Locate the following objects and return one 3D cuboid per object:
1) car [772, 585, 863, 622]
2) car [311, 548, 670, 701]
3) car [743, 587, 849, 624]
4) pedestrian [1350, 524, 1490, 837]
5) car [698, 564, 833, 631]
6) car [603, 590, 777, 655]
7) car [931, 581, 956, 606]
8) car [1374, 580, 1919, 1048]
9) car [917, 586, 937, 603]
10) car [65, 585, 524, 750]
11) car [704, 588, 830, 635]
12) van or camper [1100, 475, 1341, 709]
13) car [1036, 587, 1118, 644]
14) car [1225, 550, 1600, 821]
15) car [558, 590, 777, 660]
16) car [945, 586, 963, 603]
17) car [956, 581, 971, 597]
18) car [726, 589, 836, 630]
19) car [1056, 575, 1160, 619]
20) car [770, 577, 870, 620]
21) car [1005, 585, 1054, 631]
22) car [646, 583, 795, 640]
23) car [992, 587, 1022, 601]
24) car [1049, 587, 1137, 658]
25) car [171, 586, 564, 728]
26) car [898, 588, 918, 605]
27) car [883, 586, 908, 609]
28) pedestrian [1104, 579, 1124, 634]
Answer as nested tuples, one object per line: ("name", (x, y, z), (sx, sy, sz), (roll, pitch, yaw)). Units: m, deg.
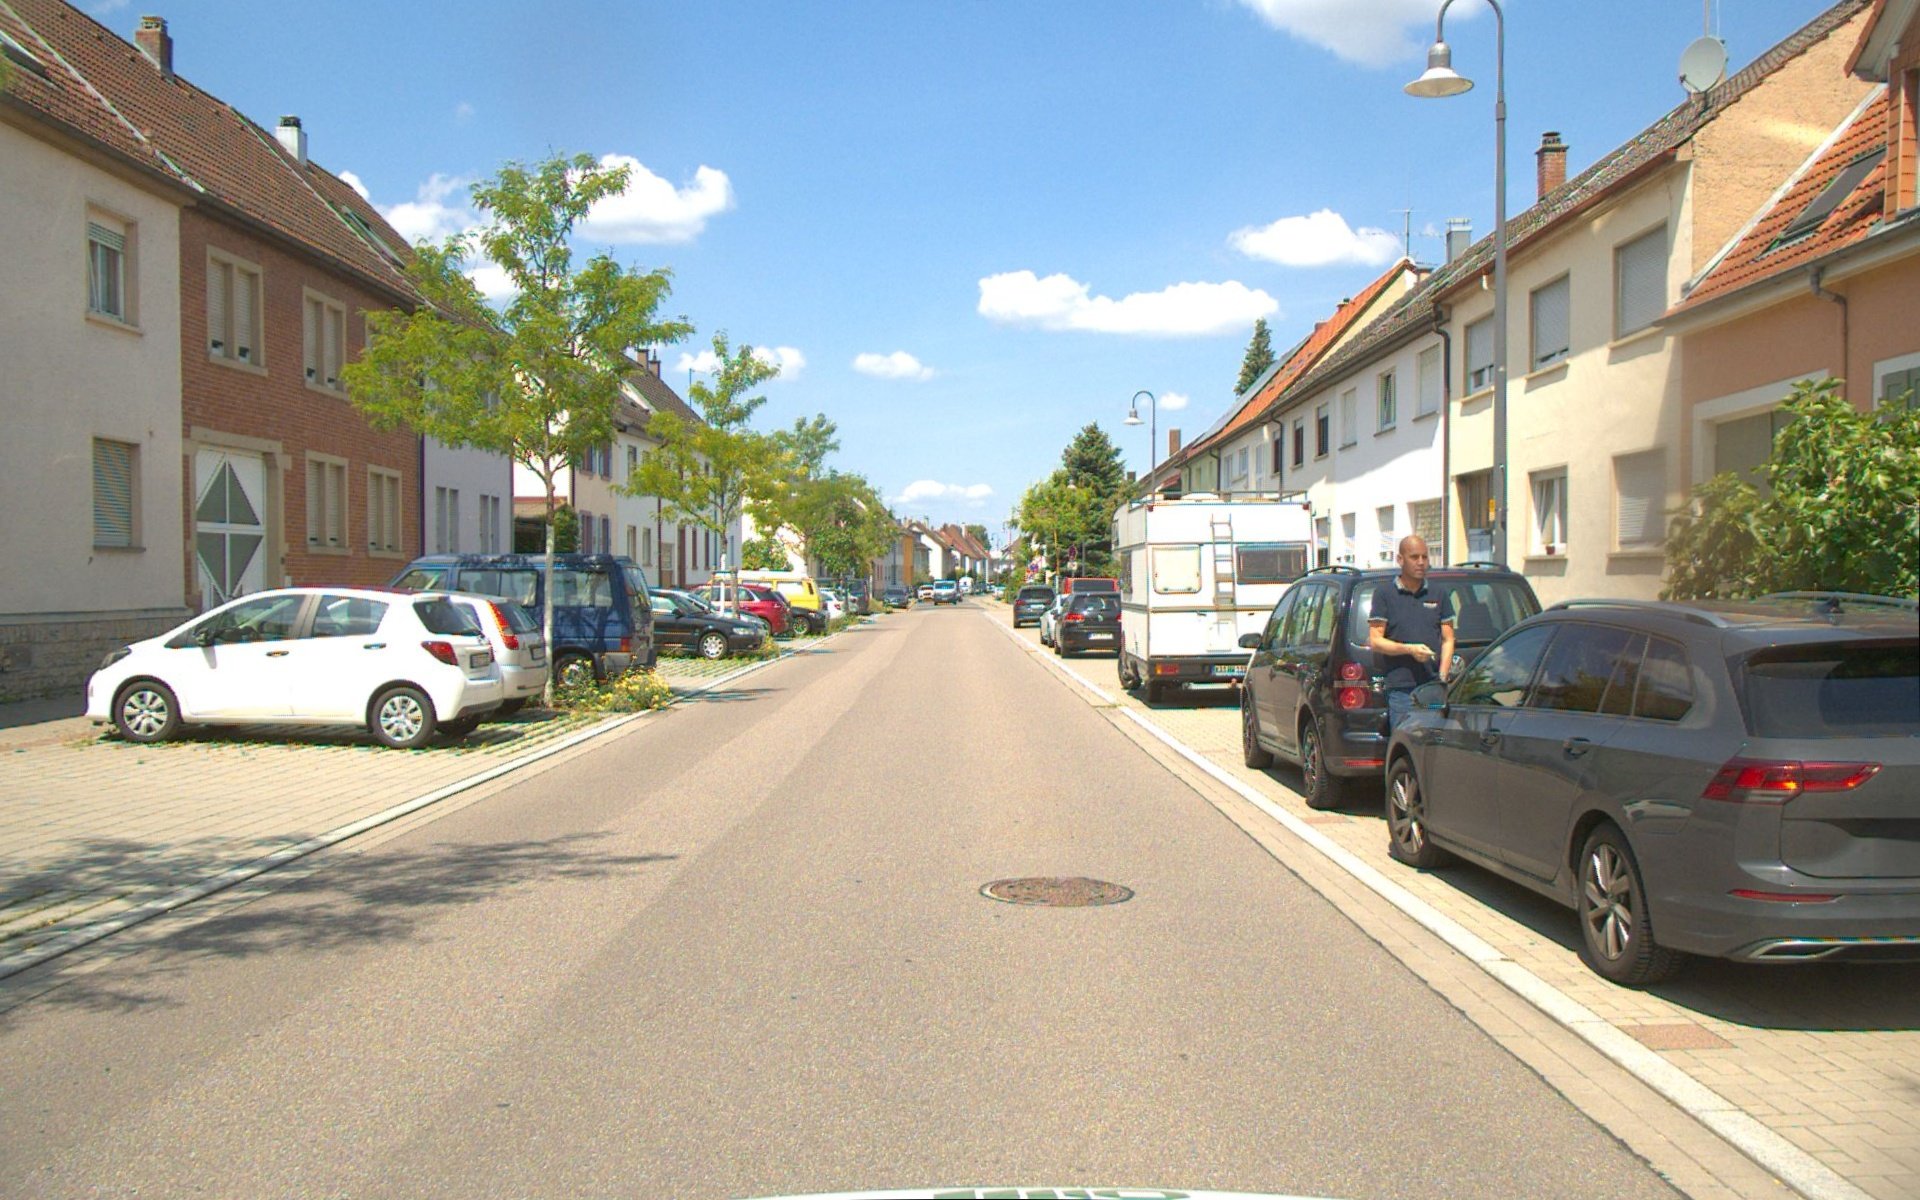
("car", (-6.562, 0.160, 76.510), (4.100, 1.596, 1.772), (1, 0, -4))
("car", (-6.588, 0.327, 23.584), (4.517, 2.031, 1.953), (1, 0, 1))
("car", (-6.879, 0.245, 69.628), (4.206, 1.493, 1.774), (0, 0, 1))
("pedestrian", (2.840, 0.484, 10.259), (0.702, 1.885, 0.578), (0, 0, 0))
("car", (-6.681, -0.087, 57.114), (4.416, 2.215, 1.925), (1, 0, 0))
("car", (-6.484, 0.528, 40.039), (3.973, 1.503, 1.775), (1, 0, -3))
("car", (-1.396, -0.510, 137.930), (1.981, 1.984, 4.897), (-1, 0, -1))
("car", (3.350, 0.679, 7.544), (1.731, 1.514, 4.295), (0, 0, -2))
("car", (-3.425, -0.607, 173.259), (1.811, 1.688, 4.001), (2, 0, 3))
("car", (-6.522, 0.629, 16.503), (3.835, 1.514, 1.773), (1, 0, 1))
("car", (-6.310, 0.375, 54.459), (3.928, 1.485, 1.755), (1, 0, 0))
("van or camper", (3.505, -0.143, 23.567), (2.423, 2.859, 5.790), (-2, 1, 0))
("car", (3.172, 0.402, 45.735), (1.795, 1.491, 4.518), (0, 0, -2))
("car", (3.260, 0.536, 12.814), (1.730, 1.734, 4.325), (0, 0, 0))
("car", (-6.321, 0.531, 36.067), (4.431, 1.450, 1.795), (1, 0, -1))
("car", (-0.618, -0.553, 163.281), (1.727, 1.549, 4.048), (-2, 0, -1))
("car", (0.498, -1.596, 243.143), (2.002, 2.352, 3.773), (1, 0, 4))
("car", (-6.692, 0.341, 61.615), (3.996, 1.493, 1.750), (1, 0, -9))
("car", (6.726, -0.123, 75.547), (4.525, 1.927, 2.020), (1, -1, -2))
("car", (-6.699, -0.082, 79.361), (4.604, 1.957, 1.937), (1, 0, -1))
("car", (2.751, 0.286, 65.703), (1.825, 1.664, 4.448), (-3, 1, 2))
("car", (-7.072, 0.328, 49.170), (4.167, 1.639, 1.842), (1, 0, -1))
("car", (5.368, -0.719, 189.136), (3.451, 1.490, 1.628), (1, 0, 0))
("car", (3.052, 0.487, 38.516), (1.730, 1.556, 4.007), (0, 0, 0))
("car", (-6.682, 0.617, 18.936), (3.835, 1.514, 1.773), (1, 0, 1))
("car", (-5.075, -0.331, 161.373), (1.773, 1.637, 4.000), (2, 0, 0))
("car", (-4.880, -0.212, 124.336), (1.780, 1.458, 4.138), (3, 2, -3))
("pedestrian", (5.057, 0.226, 54.321), (0.546, 1.779, 0.673), (-1, -1, 0))
